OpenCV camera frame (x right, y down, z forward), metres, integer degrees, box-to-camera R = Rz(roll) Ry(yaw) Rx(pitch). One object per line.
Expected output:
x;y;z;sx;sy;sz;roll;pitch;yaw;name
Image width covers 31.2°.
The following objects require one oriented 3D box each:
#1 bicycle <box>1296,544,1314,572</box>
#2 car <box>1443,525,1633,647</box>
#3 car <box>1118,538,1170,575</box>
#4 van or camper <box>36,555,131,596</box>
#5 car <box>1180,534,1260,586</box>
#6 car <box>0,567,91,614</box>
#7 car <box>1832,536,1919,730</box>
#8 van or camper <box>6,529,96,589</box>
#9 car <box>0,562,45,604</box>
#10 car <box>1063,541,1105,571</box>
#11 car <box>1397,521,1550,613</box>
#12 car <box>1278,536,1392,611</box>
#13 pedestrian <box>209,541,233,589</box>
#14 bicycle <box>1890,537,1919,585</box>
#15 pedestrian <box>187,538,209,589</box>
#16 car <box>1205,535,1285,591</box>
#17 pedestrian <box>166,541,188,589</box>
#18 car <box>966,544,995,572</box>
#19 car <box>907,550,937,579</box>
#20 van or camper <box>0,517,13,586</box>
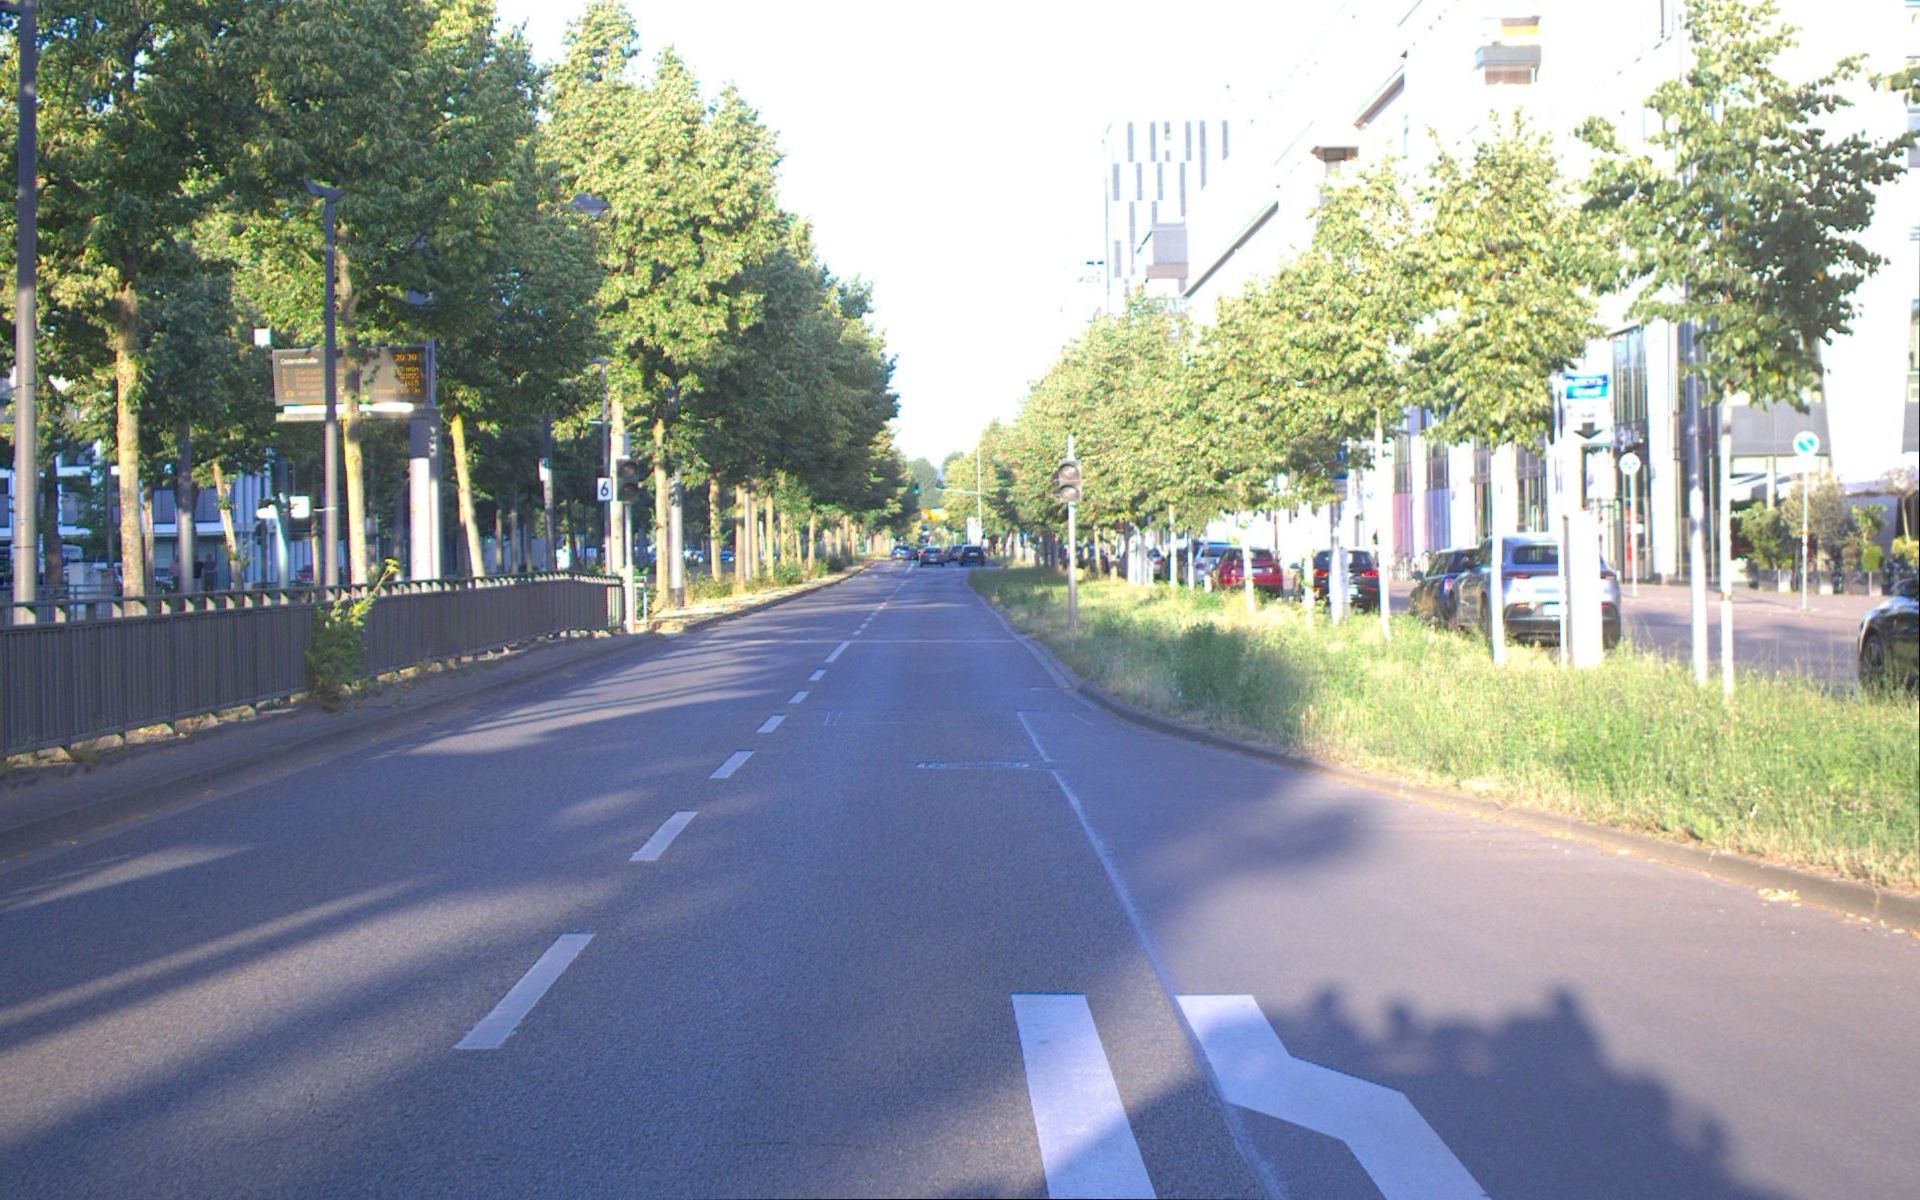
14.829;-1.801;147.645;0.538;1.160;1.781;-3;1;0;bicycle
8.152;-0.230;48.848;1.808;1.626;4.676;-1;1;-1;car
7.716;-1.827;144.401;1.808;1.495;4.826;-1;1;-1;car
-39.540;-1.118;155.200;3.986;1.785;2.001;-1;1;-10;van or camper
7.791;-1.220;103.513;1.920;1.495;5.010;-1;1;-1;car
-31.539;-0.349;118.630;1.803;1.555;3.837;-1;1;5;car
8.408;0.253;26.461;1.919;1.495;5.411;-1;1;-1;car
-47.938;-2.166;181.439;2.710;3.075;6.261;0;1;4;van or camper
-30.656;-0.530;108.268;1.994;1.310;5.142;-1;1;4;car
6.782;-2.415;188.394;1.943;1.543;4.812;-1;1;-2;car
8.078;-0.539;54.389;1.749;1.393;4.000;0;1;-1;car
7.819;-0.585;71.962;1.808;1.495;4.369;-1;1;-1;car
-27.375;-1.292;127.291;0.693;1.737;0.866;-1;1;-2;pedestrian
22.303;-0.908;78.889;1.794;1.104;0.500;-1;1;-4;bicycle
-28.268;-1.345;127.551;0.693;1.864;0.866;-1;1;-8;pedestrian
7.898;-1.036;95.508;1.808;1.495;3.960;-1;1;-1;car
-28.955;-1.288;127.180;0.693;1.753;0.866;-1;1;-8;pedestrian
1.507;-3.081;252.310;1.993;2.007;4.000;-1;1;-1;car
-2.713;-2.537;244.187;2.087;2.007;4.000;-1;1;-1;car
-38.873;-1.902;134.795;2.084;2.726;5.495;-1;1;-2;van or camper
